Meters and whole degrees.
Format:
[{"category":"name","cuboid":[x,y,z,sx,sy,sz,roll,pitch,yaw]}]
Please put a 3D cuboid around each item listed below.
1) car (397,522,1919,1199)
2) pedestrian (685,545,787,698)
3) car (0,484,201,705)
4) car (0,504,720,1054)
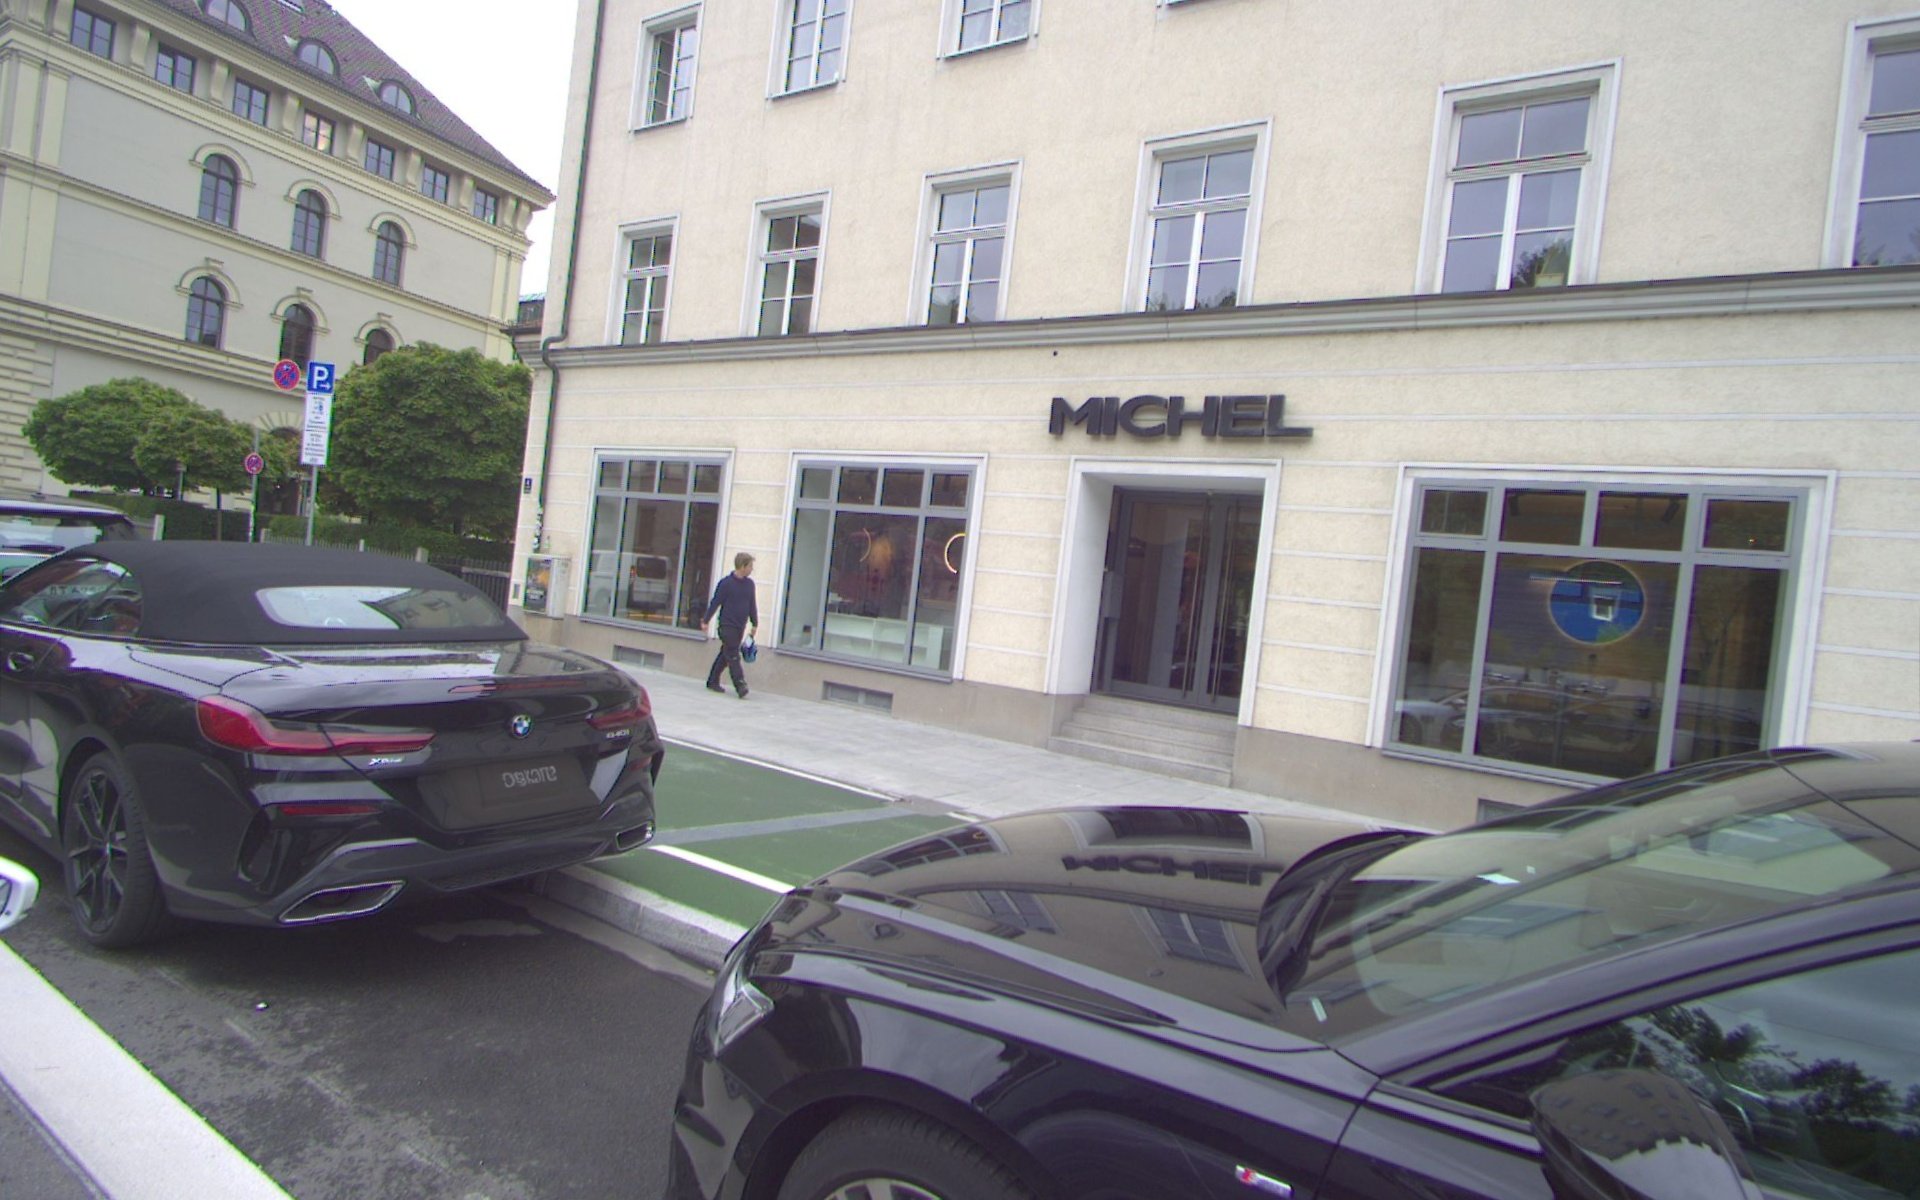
[{"category":"car","cuboid":[1.358,0.889,1.650,4.607,1.498,1.804,7,1,30]},{"category":"pedestrian","cuboid":[-2.901,0.283,13.051,0.764,1.859,0.791,8,1,33]},{"category":"car","cuboid":[-7.823,-0.178,8.056,3.368,1.514,1.612,7,0,32]},{"category":"car","cuboid":[-3.357,0.422,4.674,4.353,1.402,1.683,7,-1,32]}]
